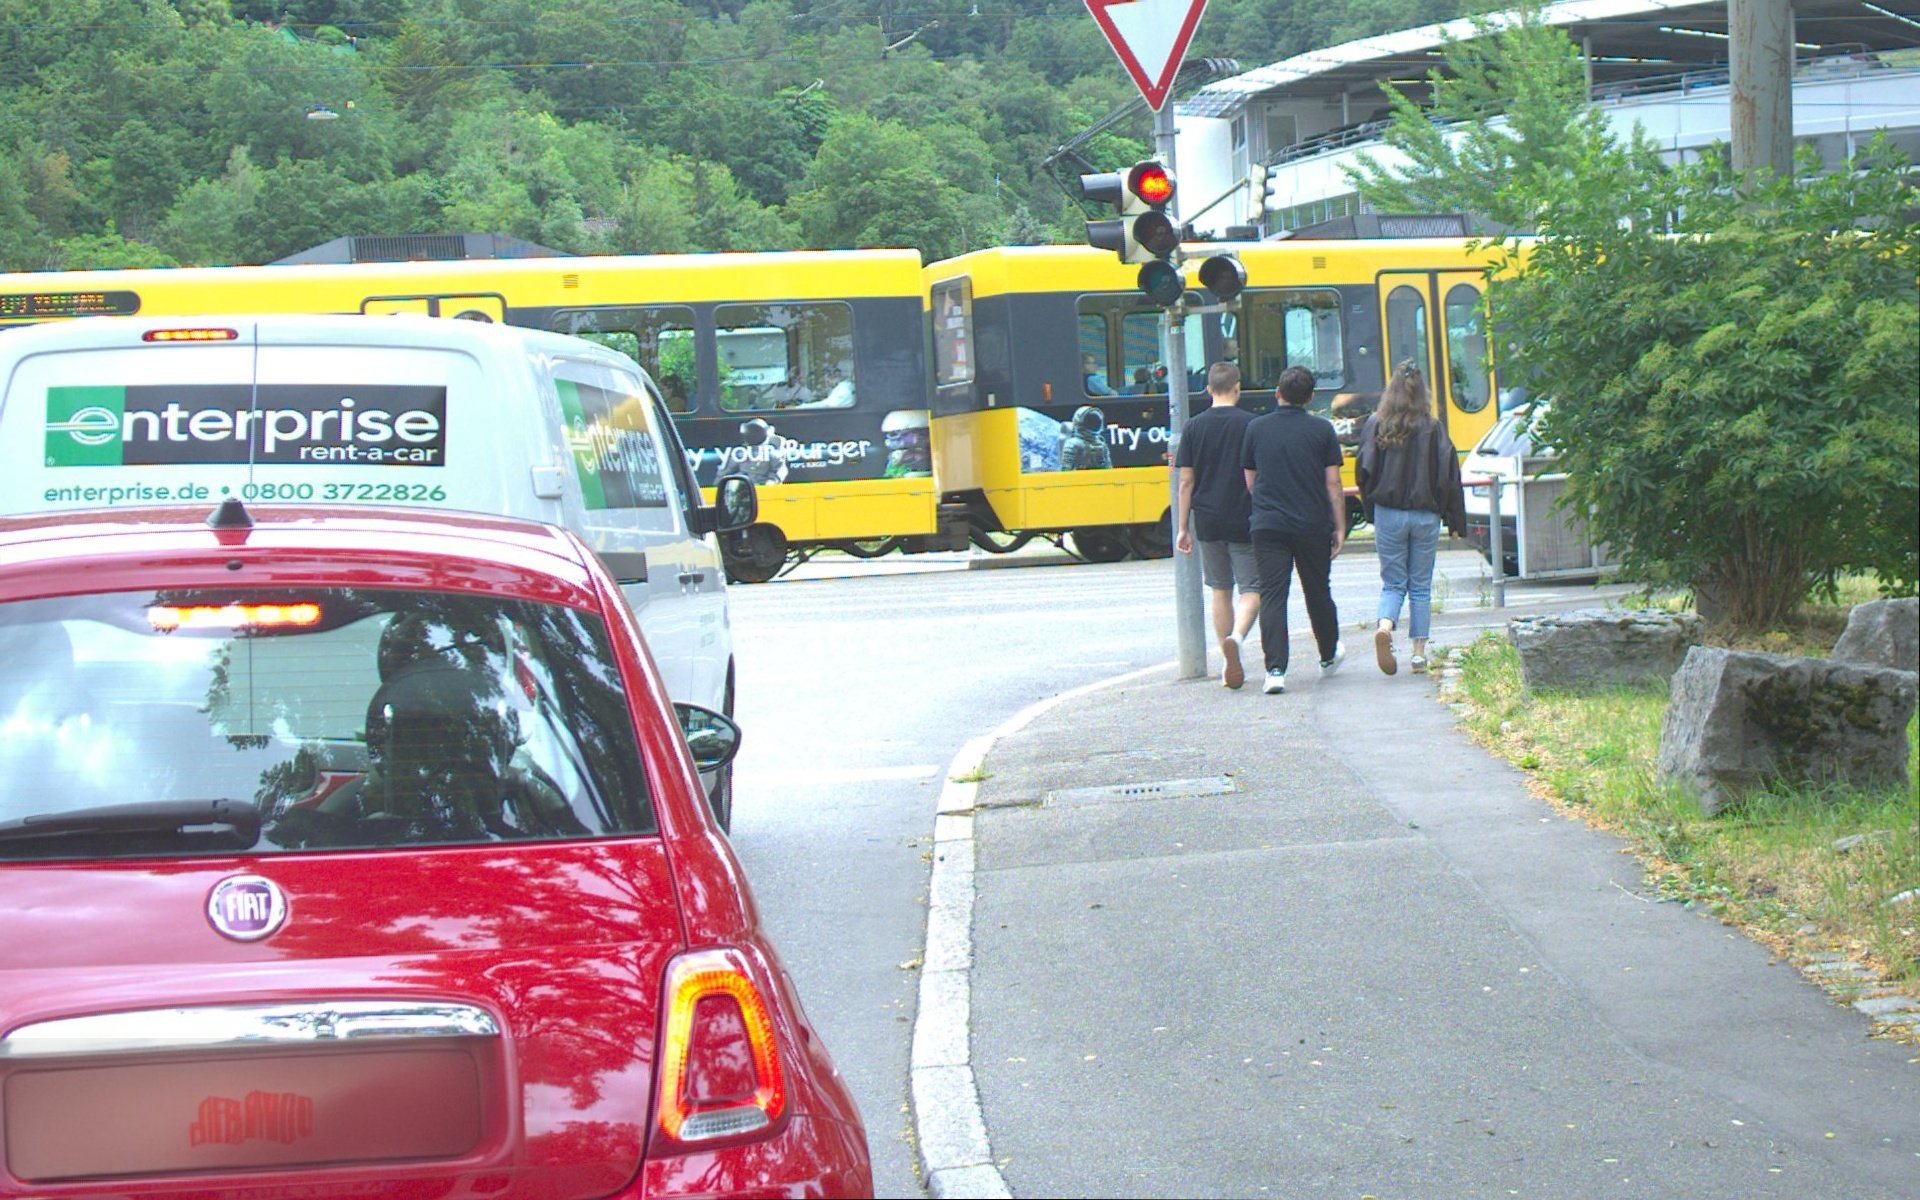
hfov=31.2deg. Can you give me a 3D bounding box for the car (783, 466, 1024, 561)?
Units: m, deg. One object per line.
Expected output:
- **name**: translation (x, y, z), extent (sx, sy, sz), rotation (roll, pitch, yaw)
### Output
- **car**: translation (-0.998, -1.543, 61.301), extent (3.871, 1.495, 1.774), rotation (-2, 2, 17)

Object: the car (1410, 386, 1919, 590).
- **car**: translation (6.280, -1.011, 30.574), extent (4.112, 1.578, 1.803), rotation (-4, 2, -23)

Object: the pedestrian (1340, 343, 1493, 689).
- **pedestrian**: translation (2.386, -0.444, 17.923), extent (0.693, 1.733, 0.788), rotation (-3, 2, 9)

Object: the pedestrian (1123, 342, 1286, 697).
- **pedestrian**: translation (1.330, -0.438, 18.607), extent (0.693, 1.850, 0.788), rotation (-3, 2, 12)

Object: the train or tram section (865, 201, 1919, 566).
- **train or tram section**: translation (8.486, -2.749, 40.924), extent (19.108, 3.653, 3.279), rotation (-3, 2, -21)

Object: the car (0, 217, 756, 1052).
- **car**: translation (-1.922, 0.012, 11.342), extent (1.989, 2.099, 4.762), rotation (-3, 2, 2)

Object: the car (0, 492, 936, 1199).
- **car**: translation (-1.171, 0.582, 5.539), extent (1.638, 1.451, 3.432), rotation (-2, 2, -11)

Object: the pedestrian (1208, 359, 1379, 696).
- **pedestrian**: translation (1.760, -0.388, 18.065), extent (0.693, 1.708, 0.788), rotation (-2, 2, 15)

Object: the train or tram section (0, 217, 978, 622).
- **train or tram section**: translation (-9.462, -1.675, 34.350), extent (19.107, 3.653, 3.279), rotation (-3, 2, -18)
